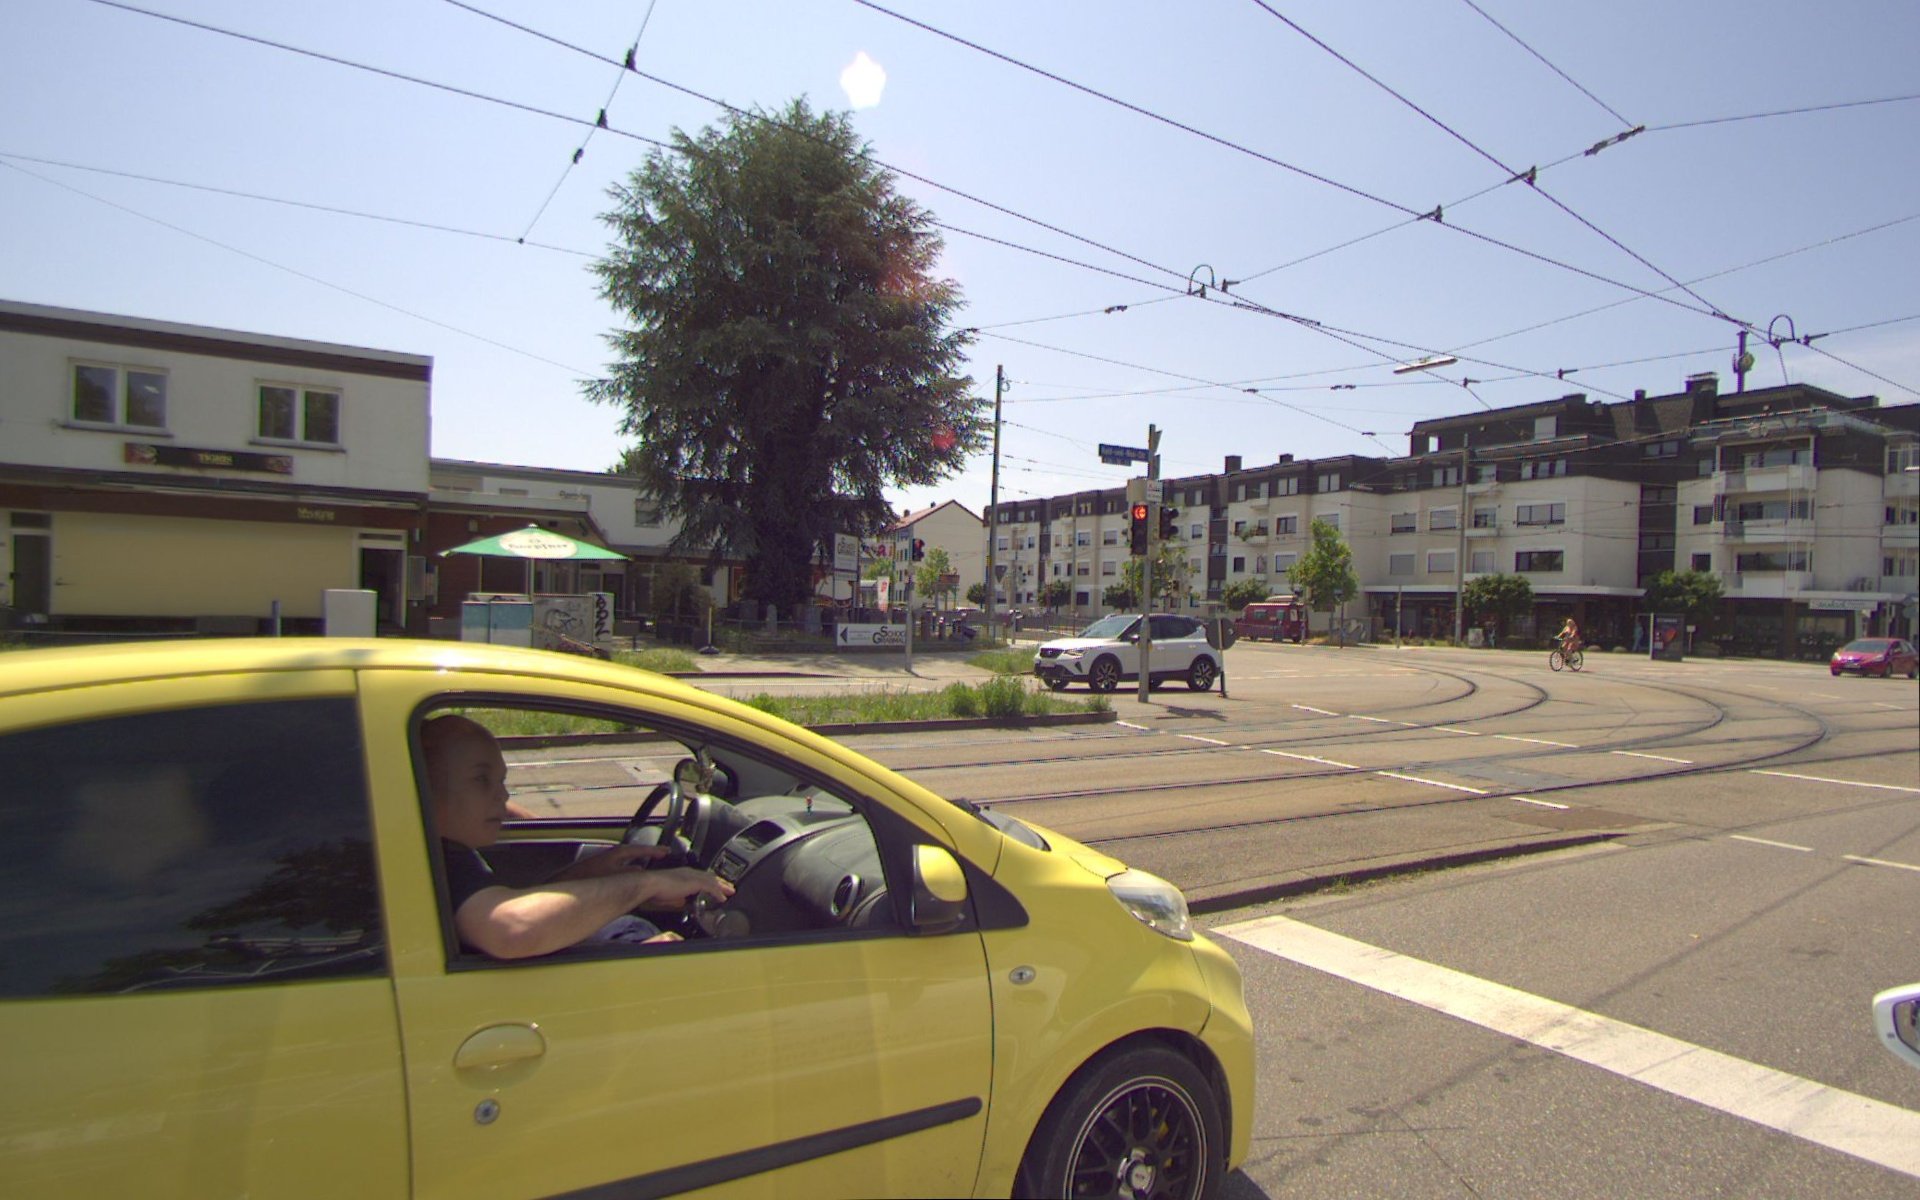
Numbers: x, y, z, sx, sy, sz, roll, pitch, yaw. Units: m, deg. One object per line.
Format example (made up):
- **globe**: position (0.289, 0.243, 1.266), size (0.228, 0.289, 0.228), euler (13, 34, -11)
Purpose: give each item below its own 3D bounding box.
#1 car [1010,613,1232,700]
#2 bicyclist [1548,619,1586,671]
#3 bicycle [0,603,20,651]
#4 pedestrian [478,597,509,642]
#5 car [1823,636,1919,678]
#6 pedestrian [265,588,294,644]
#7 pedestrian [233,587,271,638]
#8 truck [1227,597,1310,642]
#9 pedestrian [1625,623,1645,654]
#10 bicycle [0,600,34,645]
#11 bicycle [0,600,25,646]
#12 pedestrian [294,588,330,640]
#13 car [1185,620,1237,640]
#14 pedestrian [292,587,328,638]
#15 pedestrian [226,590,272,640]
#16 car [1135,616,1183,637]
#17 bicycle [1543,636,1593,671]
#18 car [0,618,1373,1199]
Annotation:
- **car**: position (3.276, 1.107, 20.353), size (4.090, 1.573, 1.984), euler (2, -1, -30)
- **bicyclist**: position (21.306, 1.568, 35.259), size (1.124, 1.789, 0.691), euler (1, 0, -31)
- **bicycle**: position (-18.902, 0.485, 18.704), size (1.936, 0.859, 0.599), euler (2, 2, -30)
- **pedestrian**: position (-11.989, 0.496, 25.809), size (0.666, 1.142, 0.515), euler (2, 0, -30)
- **car**: position (35.428, 2.193, 38.992), size (3.781, 1.503, 1.618), euler (2, 0, -28)
- **pedestrian**: position (-15.701, 0.364, 23.186), size (0.485, 1.255, 0.572), euler (2, 0, -30)
- **pedestrian**: position (-16.939, 0.300, 24.052), size (0.666, 1.179, 0.515), euler (2, 0, -30)
- **truck**: position (19.946, 1.219, 65.173), size (2.160, 2.734, 5.004), euler (2, -1, -29)
- **pedestrian**: position (39.230, 2.237, 58.359), size (0.799, 1.719, 0.695), euler (2, 0, -32)
- **bicycle**: position (-19.854, 0.437, 20.167), size (1.766, 0.859, 0.525), euler (2, 2, -30)
- **bicycle**: position (-19.575, 0.431, 19.659), size (1.766, 0.859, 0.525), euler (2, 2, -30)
- **pedestrian**: position (-15.487, 0.334, 24.022), size (0.666, 1.215, 0.515), euler (2, 0, -30)
- **car**: position (17.573, 2.094, 70.481), size (1.571, 1.235, 3.554), euler (2, -1, -28)
- **pedestrian**: position (-15.833, 0.301, 24.481), size (0.666, 1.225, 0.515), euler (2, 0, -30)
- **pedestrian**: position (-16.559, 0.354, 23.407), size (0.801, 1.142, 0.562), euler (2, 0, -30)
- **car**: position (14.676, 1.974, 74.247), size (1.571, 1.452, 3.554), euler (2, -1, -28)
- **bicycle**: position (21.368, 1.877, 35.305), size (1.909, 1.164, 0.691), euler (1, 0, -31)
- **car**: position (-0.929, 0.788, 2.264), size (3.613, 1.440, 1.608), euler (2, -2, -31)
